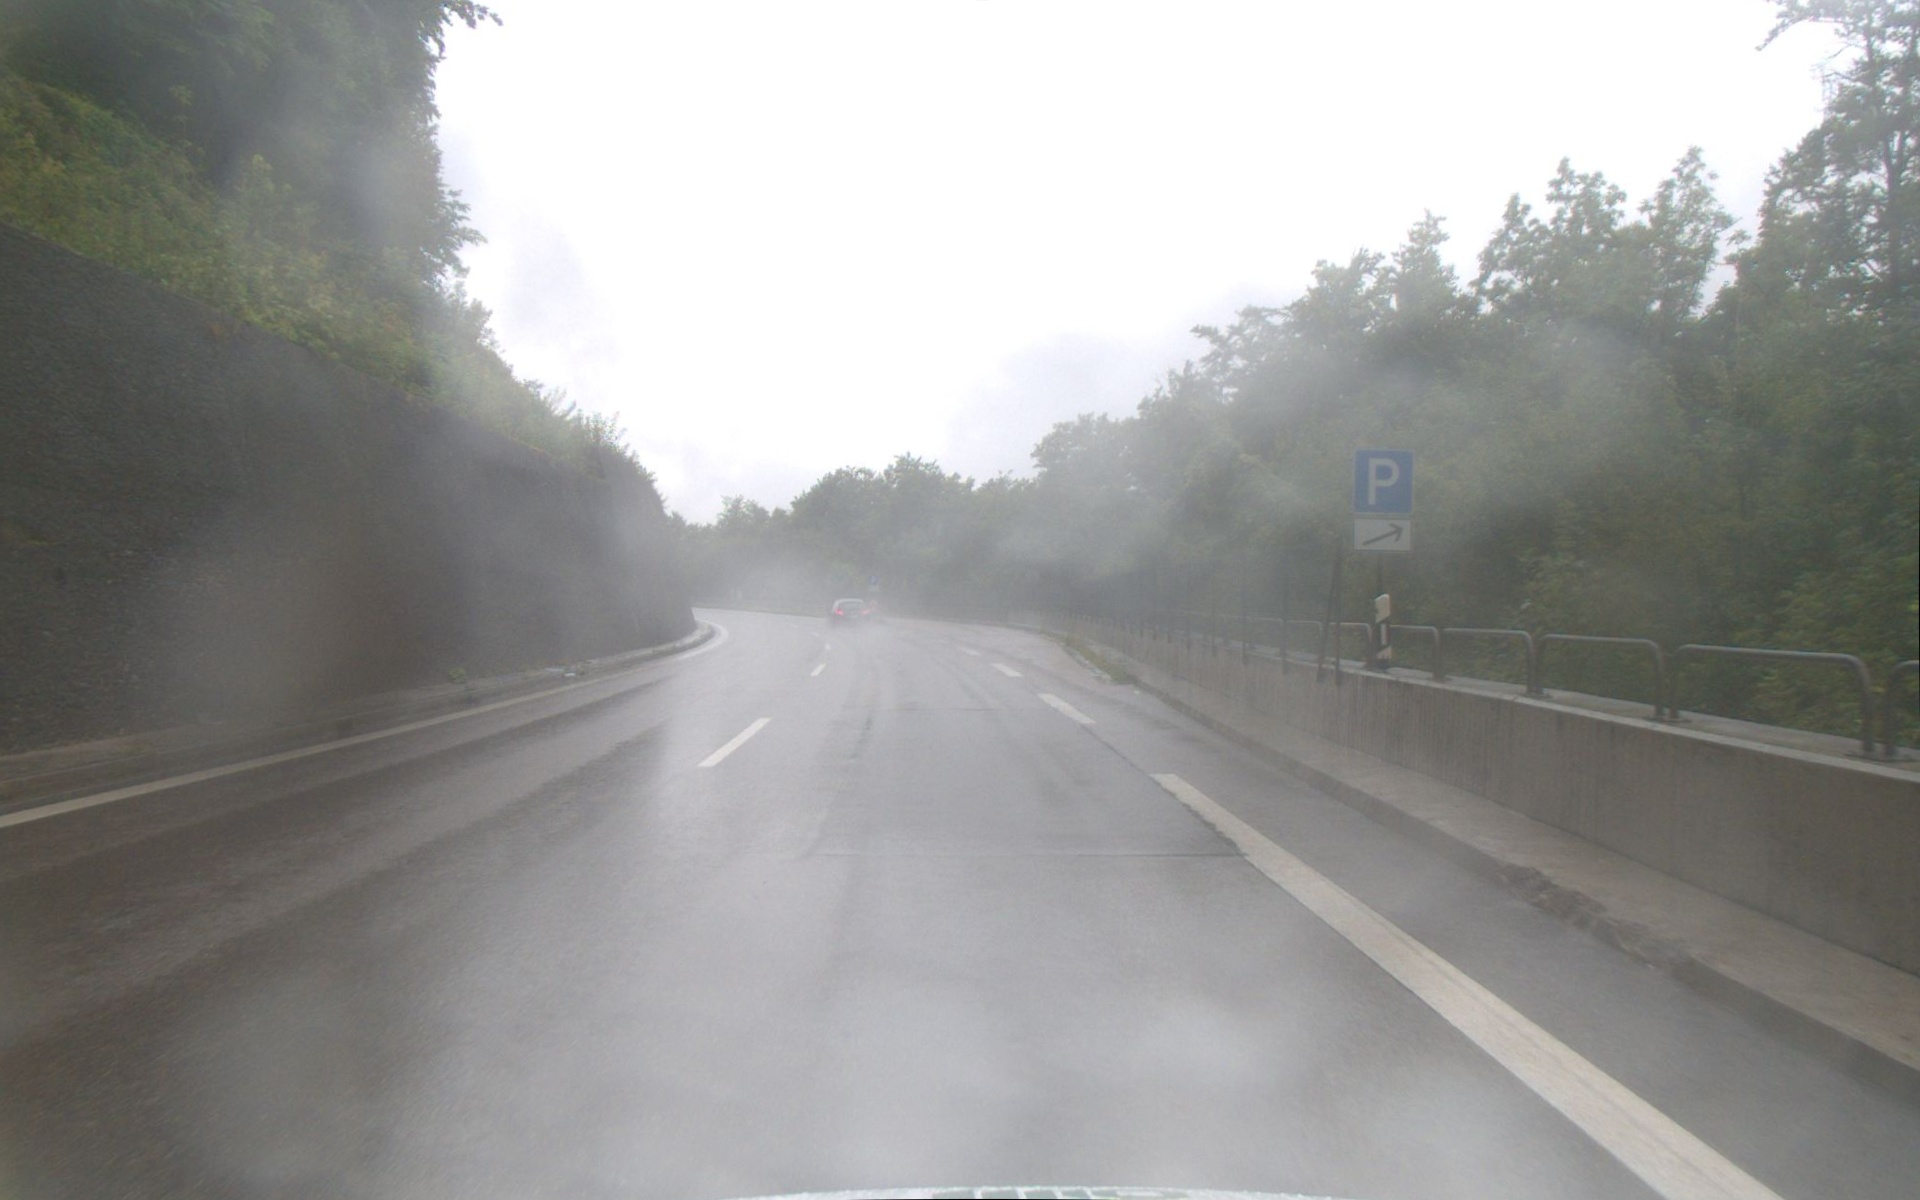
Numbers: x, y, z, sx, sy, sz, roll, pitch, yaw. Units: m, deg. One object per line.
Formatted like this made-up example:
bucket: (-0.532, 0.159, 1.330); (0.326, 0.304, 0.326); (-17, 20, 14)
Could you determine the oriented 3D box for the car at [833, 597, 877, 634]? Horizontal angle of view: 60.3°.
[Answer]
car: (-4.770, 0.688, 74.736); (1.866, 1.525, 3.996); (3, 0, -4)
